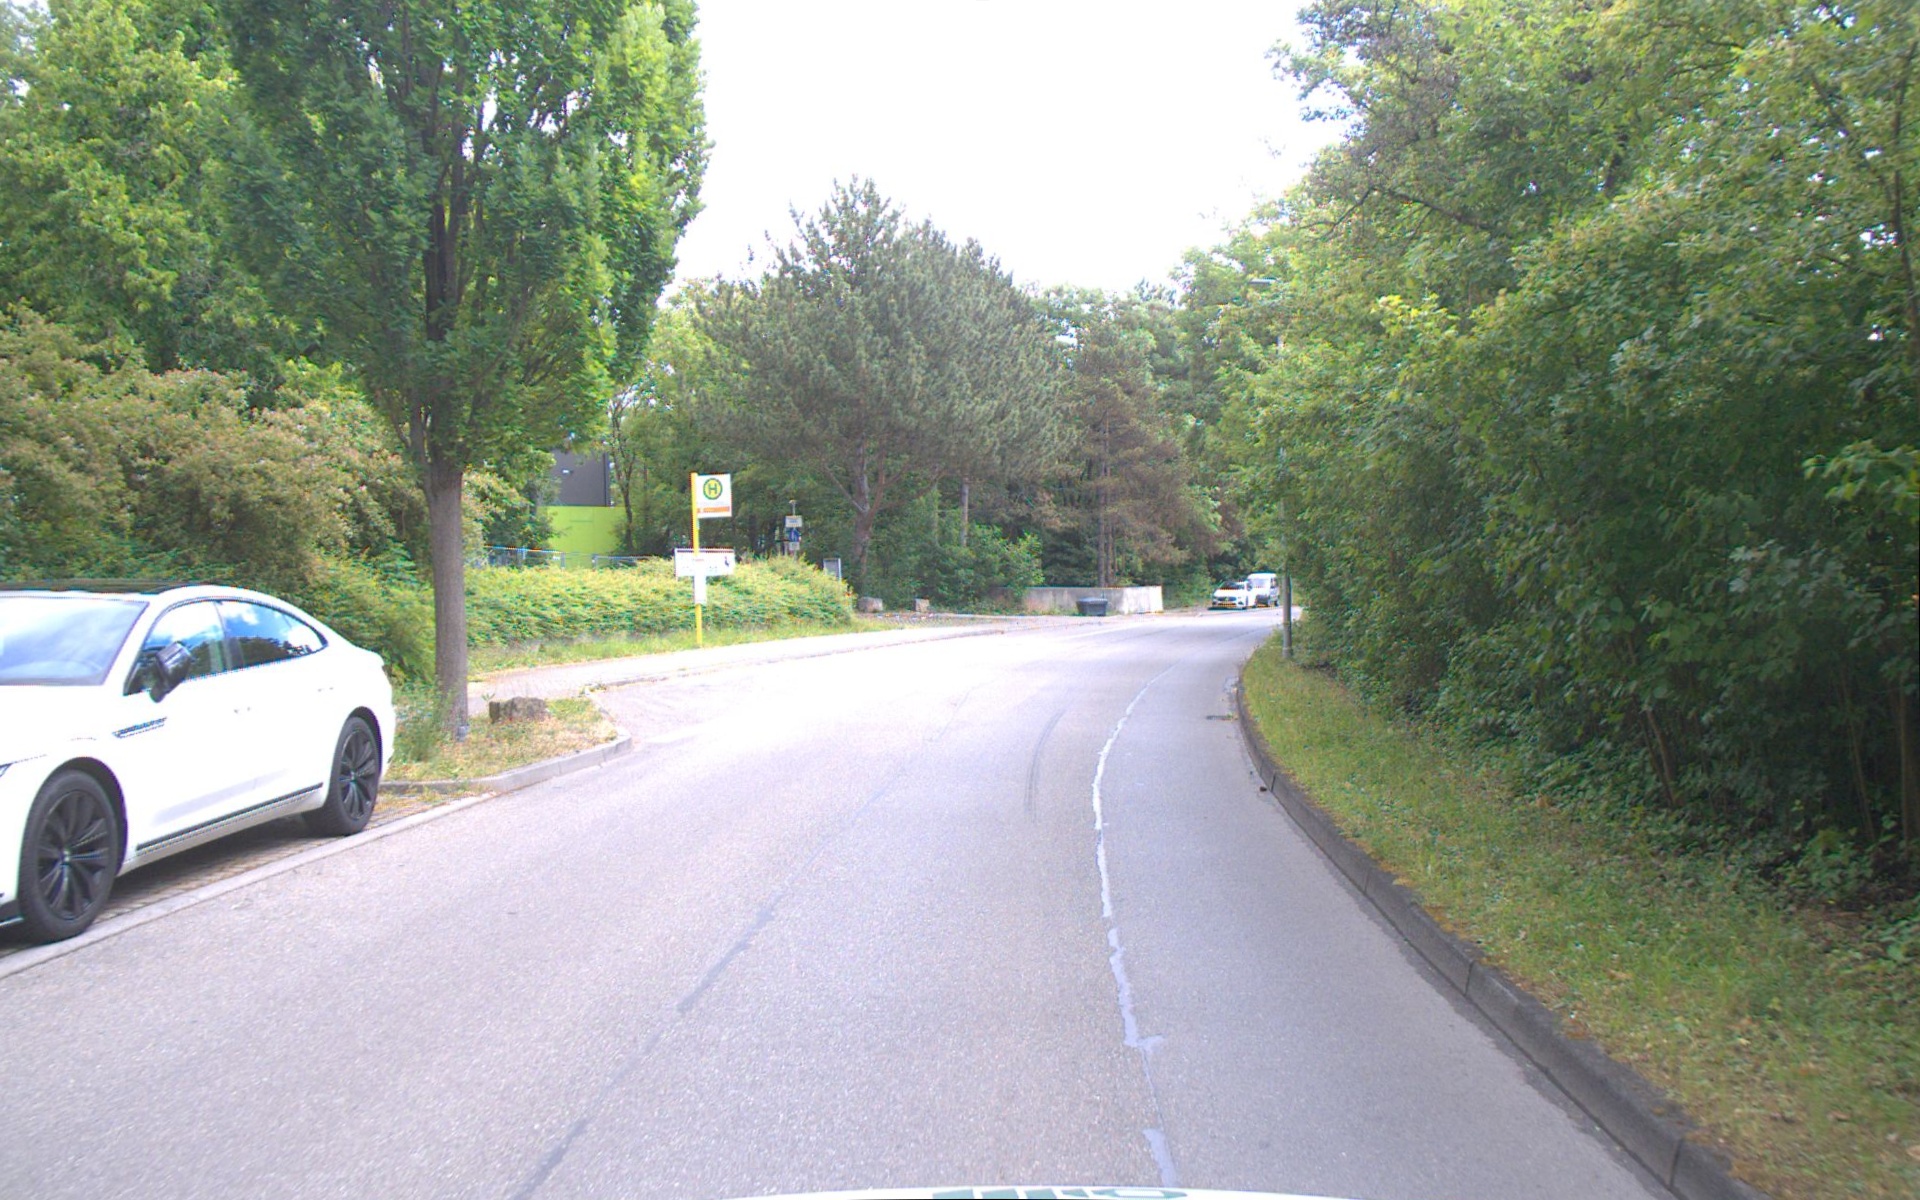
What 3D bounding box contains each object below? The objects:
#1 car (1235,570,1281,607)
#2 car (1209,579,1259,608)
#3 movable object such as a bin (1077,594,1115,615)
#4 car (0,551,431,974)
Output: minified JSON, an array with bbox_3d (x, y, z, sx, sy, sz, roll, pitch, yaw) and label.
[{"bbox_3d":[16.464,-0.654,91.239,1.686,1.954,4.104,1,2,22],"label":"car"},{"bbox_3d":[14.121,-0.341,84.959,1.768,1.427,4.373,0,1,20],"label":"car"},{"bbox_3d":[5.162,0.169,62.756,1.125,0.773,1.044,1,0,-17],"label":"movable object such as a bin"},{"bbox_3d":[-4.272,0.558,7.941,1.809,1.518,4.638,0,1,2],"label":"car"}]
